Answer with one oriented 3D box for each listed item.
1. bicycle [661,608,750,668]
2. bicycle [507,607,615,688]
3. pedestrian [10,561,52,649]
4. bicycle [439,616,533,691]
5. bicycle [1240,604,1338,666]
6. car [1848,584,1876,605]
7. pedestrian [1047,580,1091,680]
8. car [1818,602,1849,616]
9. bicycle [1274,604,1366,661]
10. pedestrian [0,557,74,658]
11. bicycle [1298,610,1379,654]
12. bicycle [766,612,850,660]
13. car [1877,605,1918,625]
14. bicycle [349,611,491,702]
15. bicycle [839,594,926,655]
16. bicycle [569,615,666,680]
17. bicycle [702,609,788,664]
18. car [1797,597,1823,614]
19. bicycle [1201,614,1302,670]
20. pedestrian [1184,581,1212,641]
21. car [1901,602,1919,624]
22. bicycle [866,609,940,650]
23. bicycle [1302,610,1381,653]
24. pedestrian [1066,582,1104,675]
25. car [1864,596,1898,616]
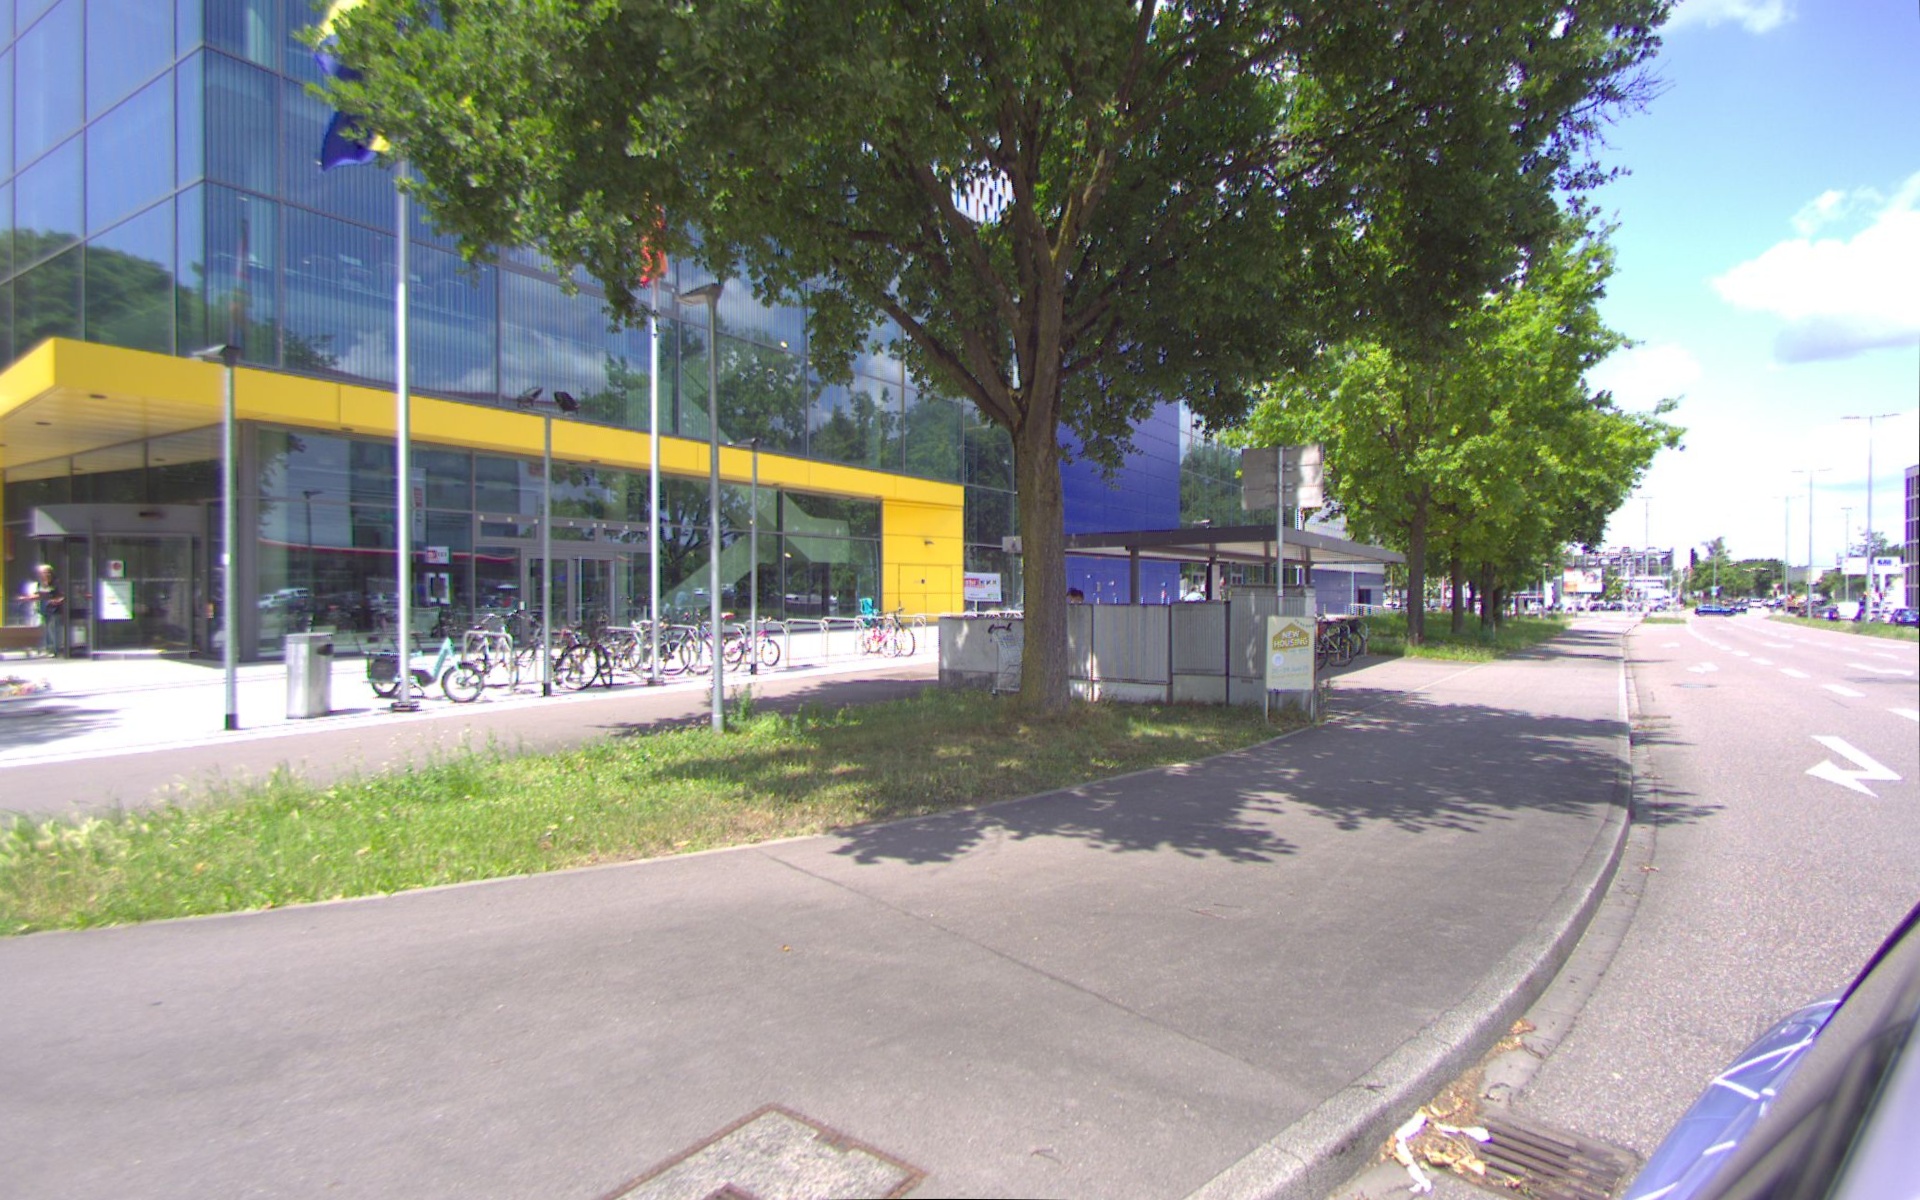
[{"bbox_3d":[-4.754,0.695,18.862,1.852,1.007,0.419,2,2,30],"label":"bicycle"},{"bbox_3d":[-6.161,0.707,15.608,1.661,1.172,0.458,1,0,21],"label":"bicycle"},{"bbox_3d":[-20.694,0.102,22.545,0.779,1.910,0.608,0,-1,43],"label":"pedestrian"},{"bbox_3d":[-7.032,0.759,14.974,1.856,1.007,0.418,1,0,36],"label":"bicycle"},{"bbox_3d":[6.781,0.708,20.902,1.852,1.202,0.419,1,0,30],"label":"bicycle"},{"bbox_3d":[91.553,-0.575,102.756,1.853,2.069,3.528,1,0,37],"label":"car"},{"bbox_3d":[1.881,0.505,17.441,0.537,1.683,0.544,0,0,-45],"label":"pedestrian"},{"bbox_3d":[81.971,0.843,95.013,1.786,1.267,4.251,1,0,36],"label":"car"},{"bbox_3d":[8.050,0.712,22.698,1.891,1.184,0.418,2,1,36],"label":"bicycle"},{"bbox_3d":[-18.048,0.136,19.657,0.953,1.910,0.889,1,0,-16],"label":"pedestrian"},{"bbox_3d":[9.616,0.803,25.745,1.852,1.007,0.419,3,1,30],"label":"bicycle"},{"bbox_3d":[-3.149,0.729,20.839,1.852,0.893,0.419,2,1,30],"label":"bicycle"},{"bbox_3d":[75.258,1.215,81.267,1.786,1.435,4.615,3,2,35],"label":"car"},{"bbox_3d":[-7.326,0.744,13.719,1.899,1.121,0.502,1,2,17],"label":"bicycle"},{"bbox_3d":[-1.758,0.524,22.764,2.141,1.245,0.709,2,1,45],"label":"bicycle"},{"bbox_3d":[-5.770,0.776,17.014,1.852,1.007,0.460,0,0,31],"label":"bicycle"},{"bbox_3d":[-4.250,0.695,19.922,1.852,1.007,0.419,1,1,30],"label":"bicycle"},{"bbox_3d":[88.247,0.585,105.093,1.787,1.665,4.114,1,0,37],"label":"car"},{"bbox_3d":[5.713,0.806,19.885,1.852,1.007,0.419,1,0,30],"label":"bicycle"},{"bbox_3d":[7.004,0.317,29.753,0.621,1.743,0.526,0,1,-17],"label":"pedestrian"},{"bbox_3d":[70.356,0.943,74.173,1.735,1.493,3.626,1,1,38],"label":"car"},{"bbox_3d":[-1.367,0.675,23.892,1.856,0.893,0.465,1,0,35],"label":"bicycle"},{"bbox_3d":[9.856,0.796,26.167,1.852,1.007,0.419,2,1,30],"label":"bicycle"},{"bbox_3d":[2.305,0.507,18.660,0.542,1.683,0.472,0,-1,33],"label":"pedestrian"},{"bbox_3d":[83.383,0.520,91.682,1.786,1.723,4.172,1,0,36],"label":"car"}]
